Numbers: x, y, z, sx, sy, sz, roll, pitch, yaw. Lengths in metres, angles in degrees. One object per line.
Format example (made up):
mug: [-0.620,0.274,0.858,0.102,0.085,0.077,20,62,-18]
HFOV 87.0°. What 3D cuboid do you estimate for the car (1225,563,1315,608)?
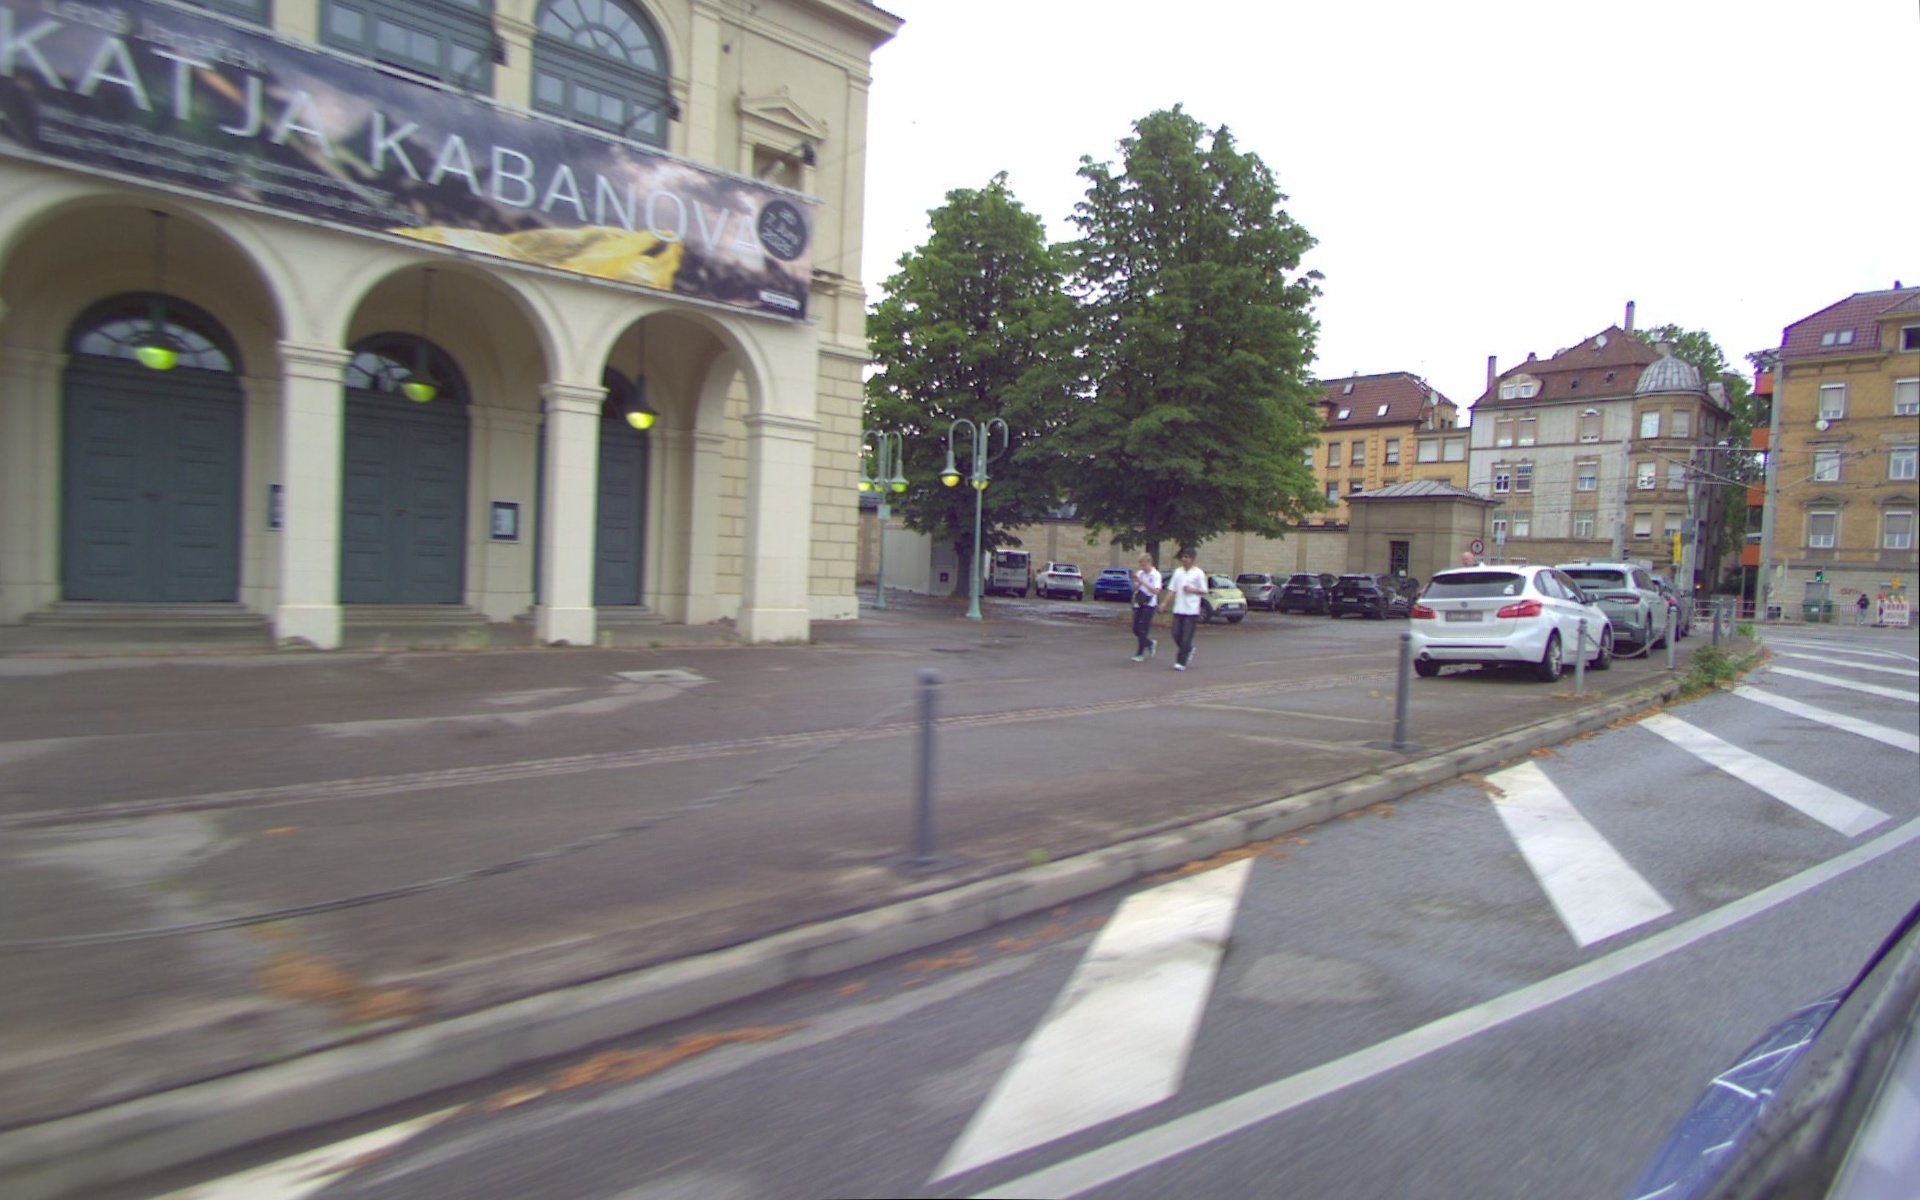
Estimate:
car: [12.297,-0.609,40.041,1.826,1.601,3.938,4,4,43]

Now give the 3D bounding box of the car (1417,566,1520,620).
car: [16.729,-0.283,33.206,1.827,1.601,3.936,4,4,45]

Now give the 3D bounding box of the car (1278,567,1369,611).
car: [13.738,-0.446,38.159,1.678,1.515,3.936,4,4,44]

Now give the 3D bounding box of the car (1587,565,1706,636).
car: [15.954,-0.023,23.434,1.836,1.482,4.082,0,1,40]

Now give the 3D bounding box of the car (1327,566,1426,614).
car: [14.761,-0.387,35.744,1.860,1.567,4.002,3,3,44]

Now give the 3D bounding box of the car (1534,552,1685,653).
car: [12.073,-0.020,18.702,1.715,1.660,4.081,0,1,42]

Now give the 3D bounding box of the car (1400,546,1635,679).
car: [8.166,0.119,14.659,4.074,1.660,1.840,-1,1,-44]

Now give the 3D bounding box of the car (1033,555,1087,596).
car: [4.312,-1.109,44.235,1.649,1.601,4.005,1,3,-4]

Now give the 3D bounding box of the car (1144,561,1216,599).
car: [9.362,-0.875,42.792,1.710,1.459,3.955,3,4,32]

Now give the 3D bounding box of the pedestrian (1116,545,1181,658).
pedestrian: [2.909,0.005,15.631,0.627,1.664,0.768,4,4,44]

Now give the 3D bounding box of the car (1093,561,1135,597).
car: [6.843,-0.976,44.739,1.677,1.412,3.989,2,3,11]

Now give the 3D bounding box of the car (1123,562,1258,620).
car: [6.859,-0.316,30.441,1.696,1.487,3.747,-1,4,-36]

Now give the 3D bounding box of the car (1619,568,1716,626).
car: [19.779,-0.079,28.234,1.836,1.482,4.082,0,0,40]

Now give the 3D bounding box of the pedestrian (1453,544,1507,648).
pedestrian: [9.425,-0.085,18.340,0.695,1.829,0.770,2,2,41]

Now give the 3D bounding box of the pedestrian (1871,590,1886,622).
pedestrian: [50.050,0.325,55.140,0.525,1.674,0.511,-1,3,-41]

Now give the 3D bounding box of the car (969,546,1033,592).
car: [1.717,-1.396,44.056,1.793,1.858,4.010,1,3,-12]

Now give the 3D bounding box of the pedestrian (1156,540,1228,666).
pedestrian: [3.351,0.026,14.609,0.824,1.757,0.595,-1,3,-41]
